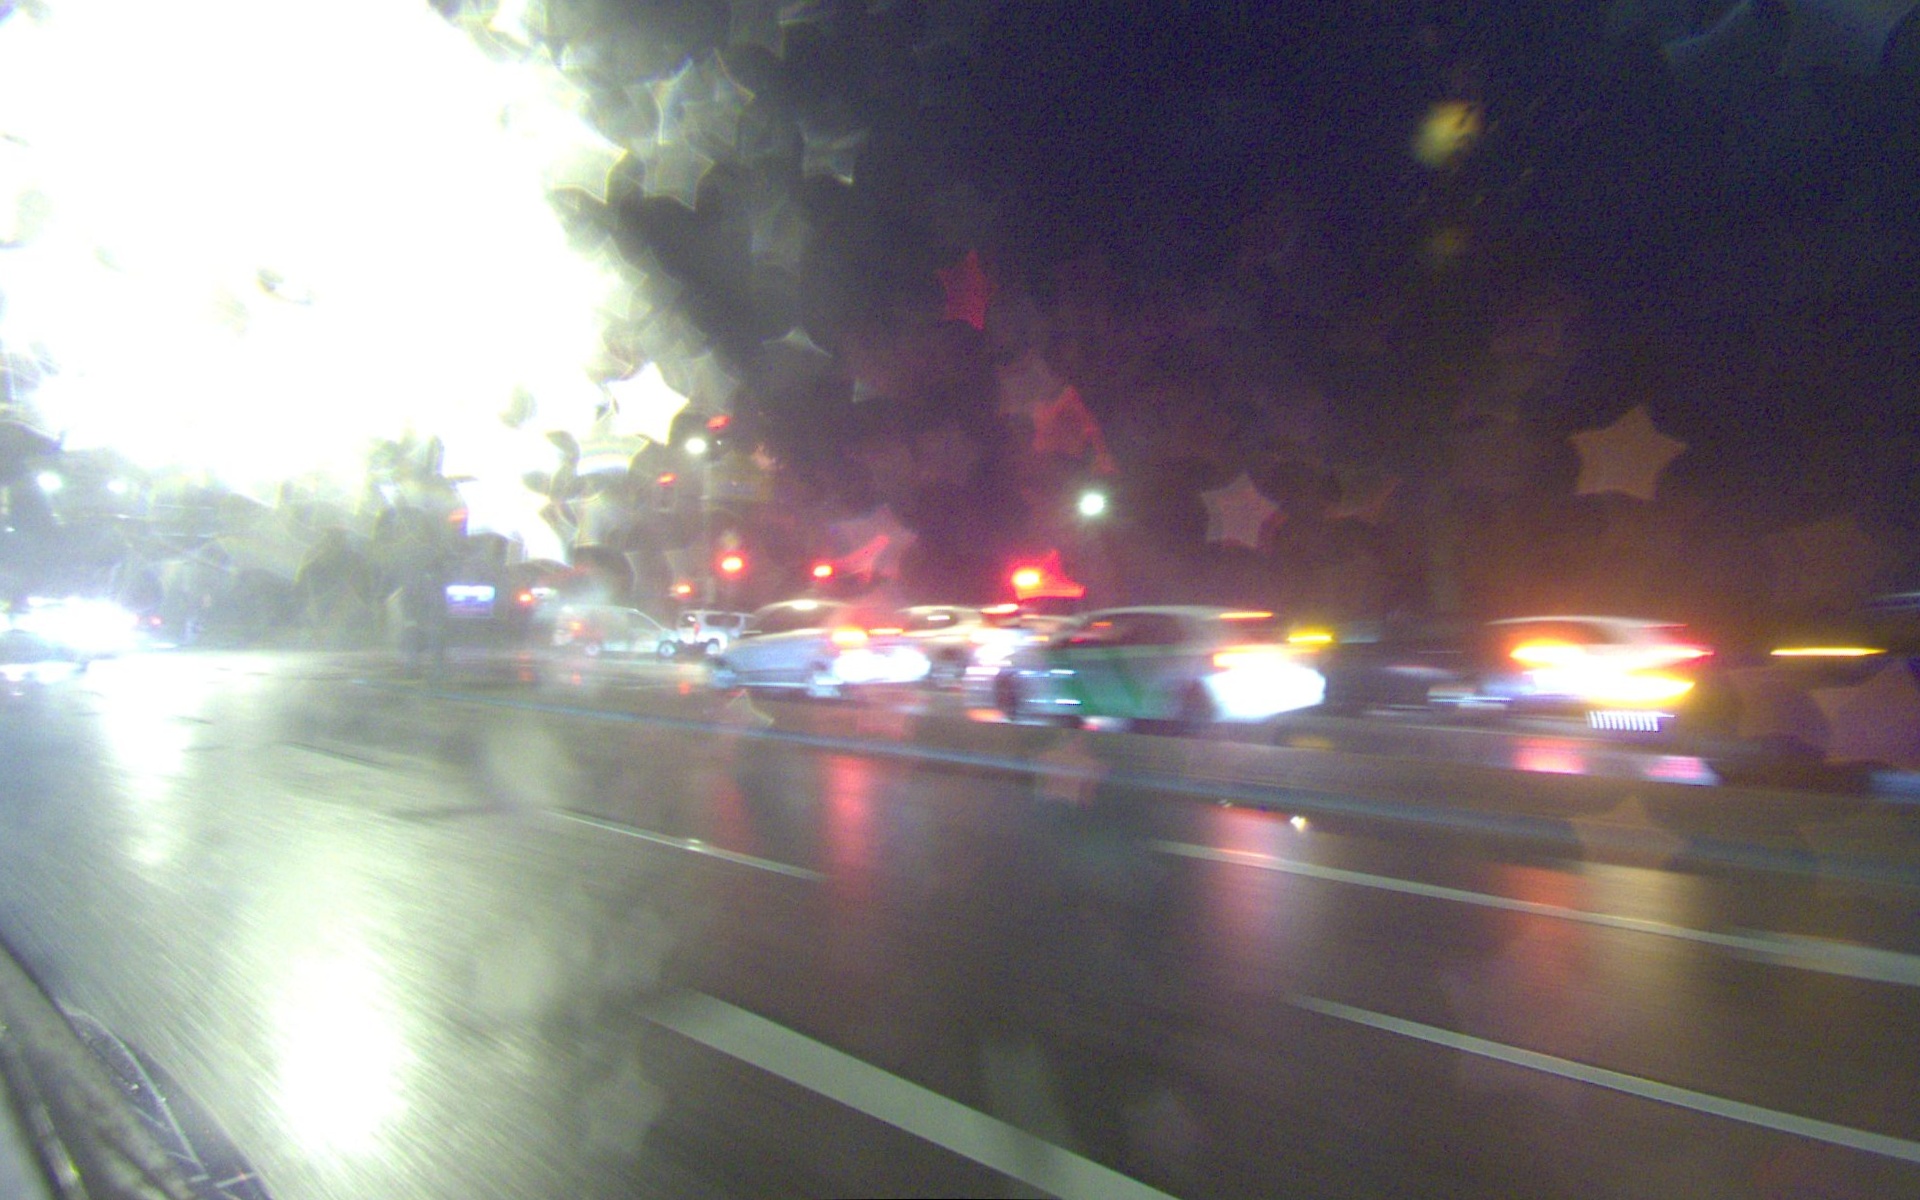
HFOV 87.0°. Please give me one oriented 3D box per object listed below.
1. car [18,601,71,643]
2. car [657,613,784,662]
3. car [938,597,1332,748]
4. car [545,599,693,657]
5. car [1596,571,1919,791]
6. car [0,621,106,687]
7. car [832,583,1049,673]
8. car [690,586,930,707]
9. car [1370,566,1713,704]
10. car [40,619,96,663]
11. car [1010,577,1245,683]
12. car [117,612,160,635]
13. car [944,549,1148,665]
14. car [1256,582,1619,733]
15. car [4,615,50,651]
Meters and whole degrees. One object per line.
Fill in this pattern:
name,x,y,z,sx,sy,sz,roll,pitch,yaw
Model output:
car,-48.513,1.130,53.612,4.147,2.039,1.768,1,1,43
car,-9.716,1.471,41.300,4.650,1.806,2.002,-1,0,-43
car,1.944,0.752,12.168,4.410,1.495,1.758,-1,-1,42
car,-11.640,0.914,34.733,4.489,1.844,1.785,0,0,-44
car,7.612,0.602,7.899,4.302,1.590,1.794,-1,-2,40
car,-24.750,1.407,26.016,4.171,1.607,1.791,4,-8,-40
car,-0.458,0.453,18.915,4.060,1.498,1.693,1,0,44
car,-2.525,0.695,16.543,3.899,1.738,1.742,-1,-1,40
car,8.683,0.488,15.328,4.247,1.813,1.780,-1,-1,40
car,-42.129,1.886,47.775,4.147,1.867,1.644,1,1,43
car,3.207,0.560,19.927,4.281,1.862,1.742,-1,-1,40
car,-61.347,1.718,75.576,4.035,1.485,1.811,2,2,41
car,2.094,0.207,26.668,2.219,2.730,5.622,0,-1,-36
car,6.141,0.687,13.260,3.974,1.678,1.780,-2,-1,40
car,-54.935,1.913,59.592,3.610,1.953,1.689,1,0,43
